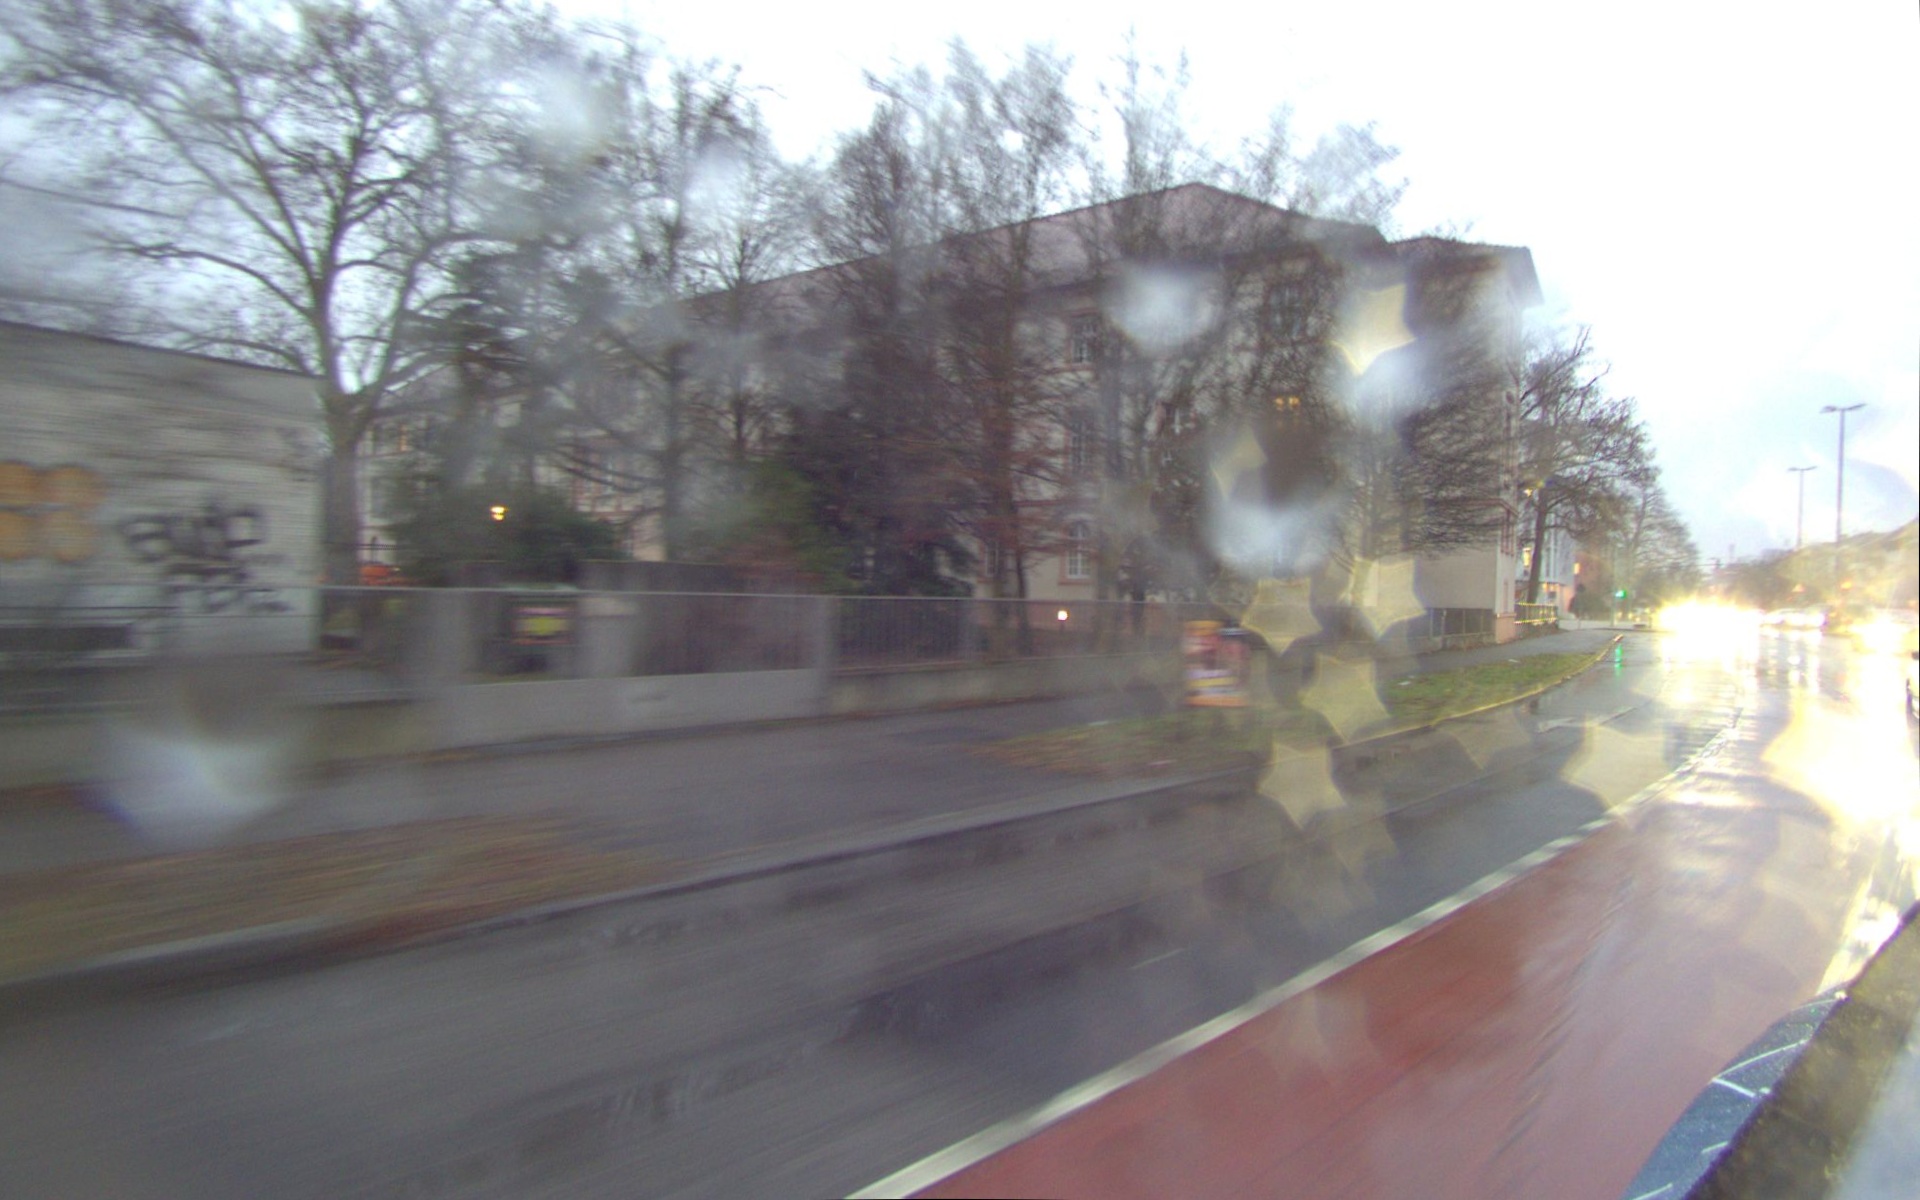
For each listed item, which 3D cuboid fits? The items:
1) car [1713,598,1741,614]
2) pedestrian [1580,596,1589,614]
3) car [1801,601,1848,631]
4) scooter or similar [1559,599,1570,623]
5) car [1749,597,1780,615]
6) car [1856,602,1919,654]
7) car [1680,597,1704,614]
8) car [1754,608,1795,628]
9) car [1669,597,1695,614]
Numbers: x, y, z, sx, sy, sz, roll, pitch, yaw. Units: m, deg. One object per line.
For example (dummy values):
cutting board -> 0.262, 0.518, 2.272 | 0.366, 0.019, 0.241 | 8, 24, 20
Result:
car -> 75.448, 0.578, 99.626 | 1.987, 1.554, 3.950 | 1, 0, 34
pedestrian -> 56.165, 0.481, 90.998 | 0.649, 1.609, 0.557 | 0, -1, 26
car -> 61.897, 1.104, 72.521 | 1.985, 2.039, 3.953 | 2, 1, 32
scooter or similar -> 31.944, 0.585, 53.481 | 0.437, 1.219, 1.071 | 0, -1, 26
car -> 77.555, 0.570, 97.583 | 1.987, 1.629, 3.950 | 1, 0, 34
car -> 34.394, 0.999, 36.949 | 1.808, 1.764, 4.137 | 2, 1, 33
car -> 77.201, 0.625, 106.779 | 1.987, 1.725, 3.950 | 1, 0, 34
car -> 61.861, 1.331, 76.912 | 1.955, 1.404, 4.479 | 2, 1, 33
car -> 72.685, 0.549, 101.947 | 1.987, 1.717, 3.950 | 1, 0, 34
